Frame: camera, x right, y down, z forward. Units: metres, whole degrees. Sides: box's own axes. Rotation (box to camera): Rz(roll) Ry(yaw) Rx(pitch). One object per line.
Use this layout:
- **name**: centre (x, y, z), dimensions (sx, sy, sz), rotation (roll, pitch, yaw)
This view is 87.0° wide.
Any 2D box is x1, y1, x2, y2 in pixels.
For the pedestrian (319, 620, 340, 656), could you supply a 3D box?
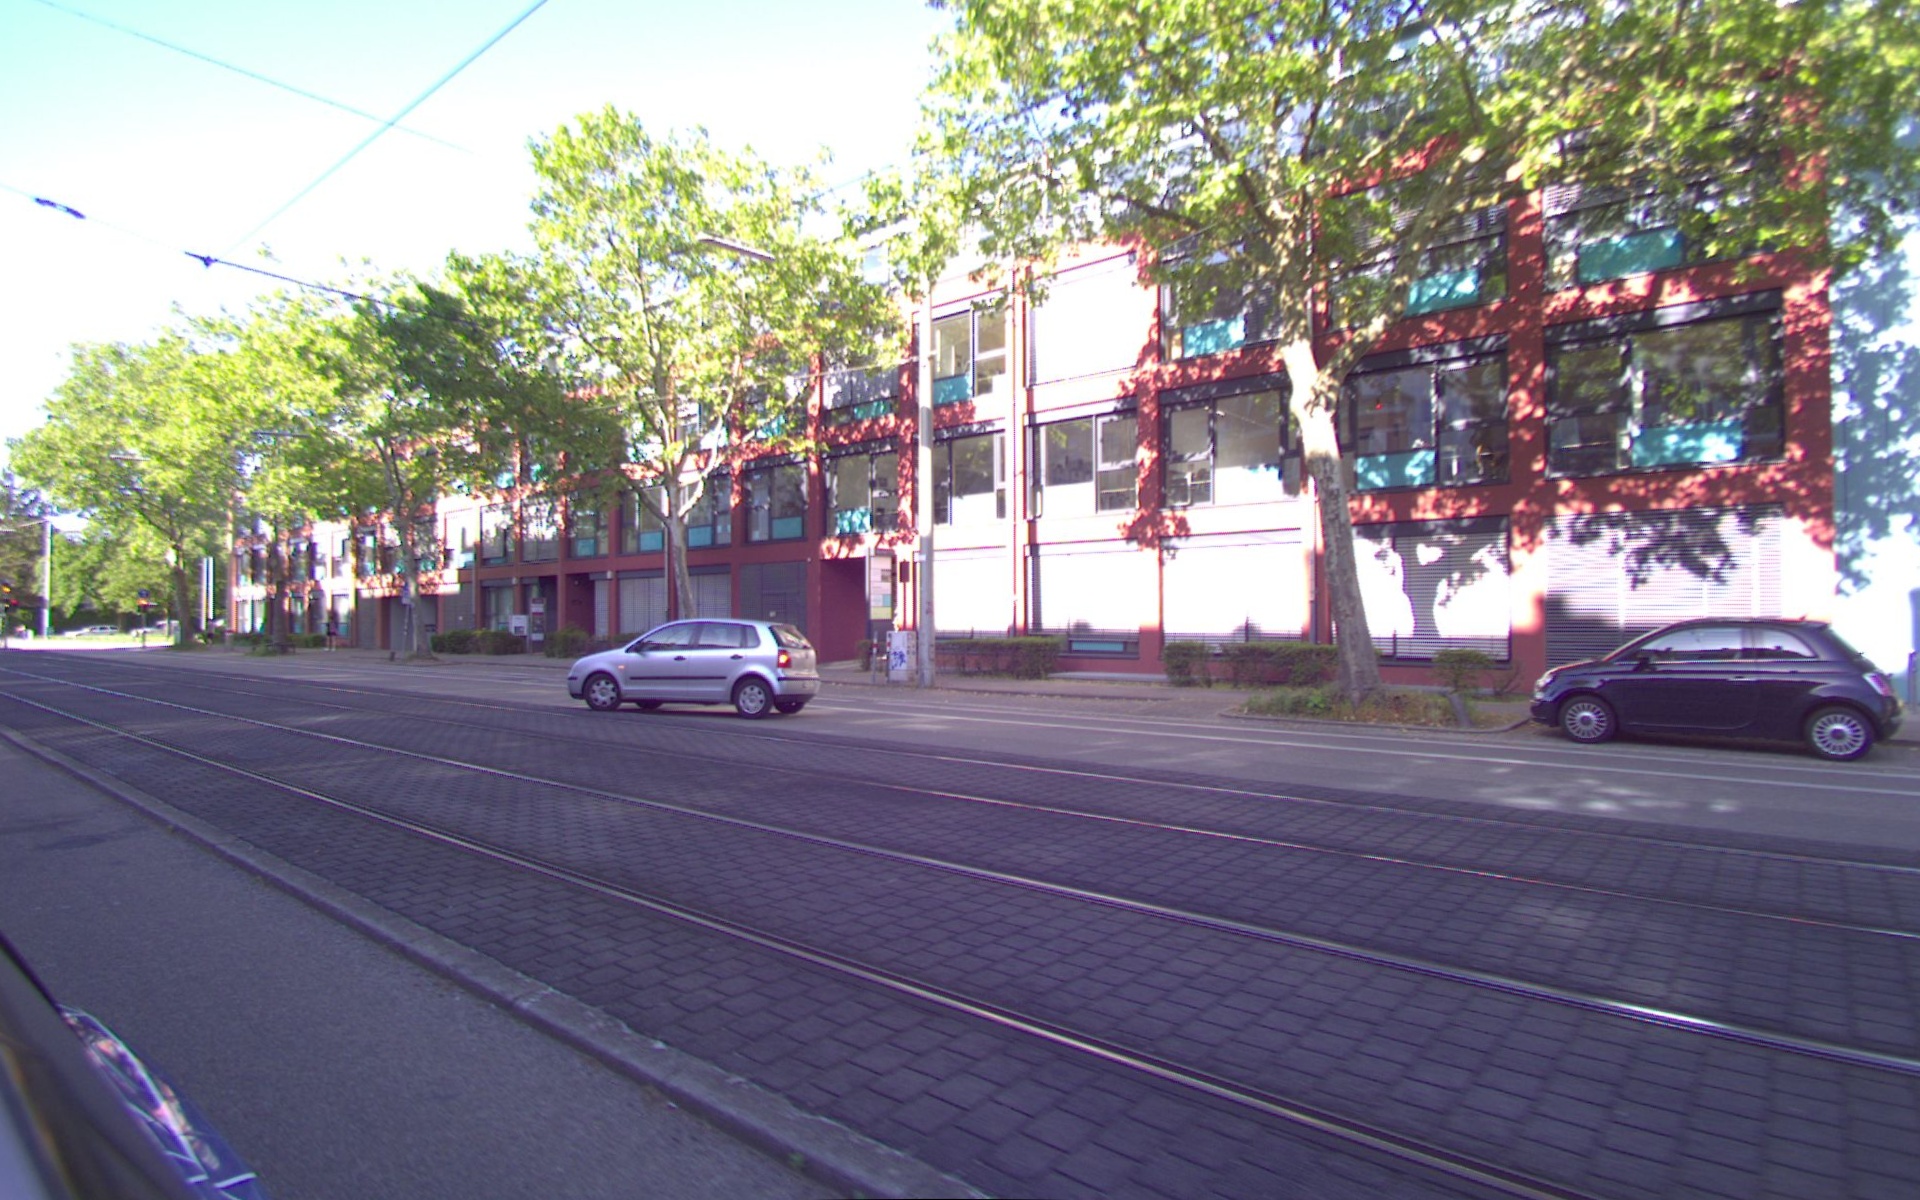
- **pedestrian**: centre (-31.298, 1.896, 50.241), dimensions (0.899, 1.731, 0.619), rotation (-2, 0, 40)

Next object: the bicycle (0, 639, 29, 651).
- **bicycle**: centre (-91.282, 4.335, 97.542), dimensions (2.252, 1.126, 0.931), rotation (1, -2, -42)

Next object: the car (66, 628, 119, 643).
- **car**: centre (-87.015, 3.591, 101.554), dimensions (3.940, 1.444, 1.818), rotation (1, -2, -44)

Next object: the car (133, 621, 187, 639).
- **car**: centre (-85.067, 3.198, 107.616), dimensions (1.816, 1.881, 4.254), rotation (-2, -2, 43)

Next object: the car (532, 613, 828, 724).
- **car**: centre (-4.232, 0.999, 15.531), dimensions (4.030, 1.530, 1.751), rotation (0, -2, 13)

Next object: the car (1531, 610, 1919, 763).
- **car**: centre (8.724, 0.907, 11.670), dimensions (3.462, 1.464, 1.491), rotation (-2, 0, 42)

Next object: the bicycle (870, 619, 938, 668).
- **bicycle**: centre (-1.606, 1.245, 29.134), dimensions (0.619, 1.282, 2.039), rotation (-2, 0, 44)

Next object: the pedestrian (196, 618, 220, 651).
- **pedestrian**: centre (-46.959, 2.139, 63.204), dimensions (0.778, 2.029, 0.903), rotation (-2, 0, 32)

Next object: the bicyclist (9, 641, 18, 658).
- **bicyclist**: centre (-91.246, 4.744, 97.550), dimensions (0.551, 1.635, 0.899), rotation (1, -2, -42)
